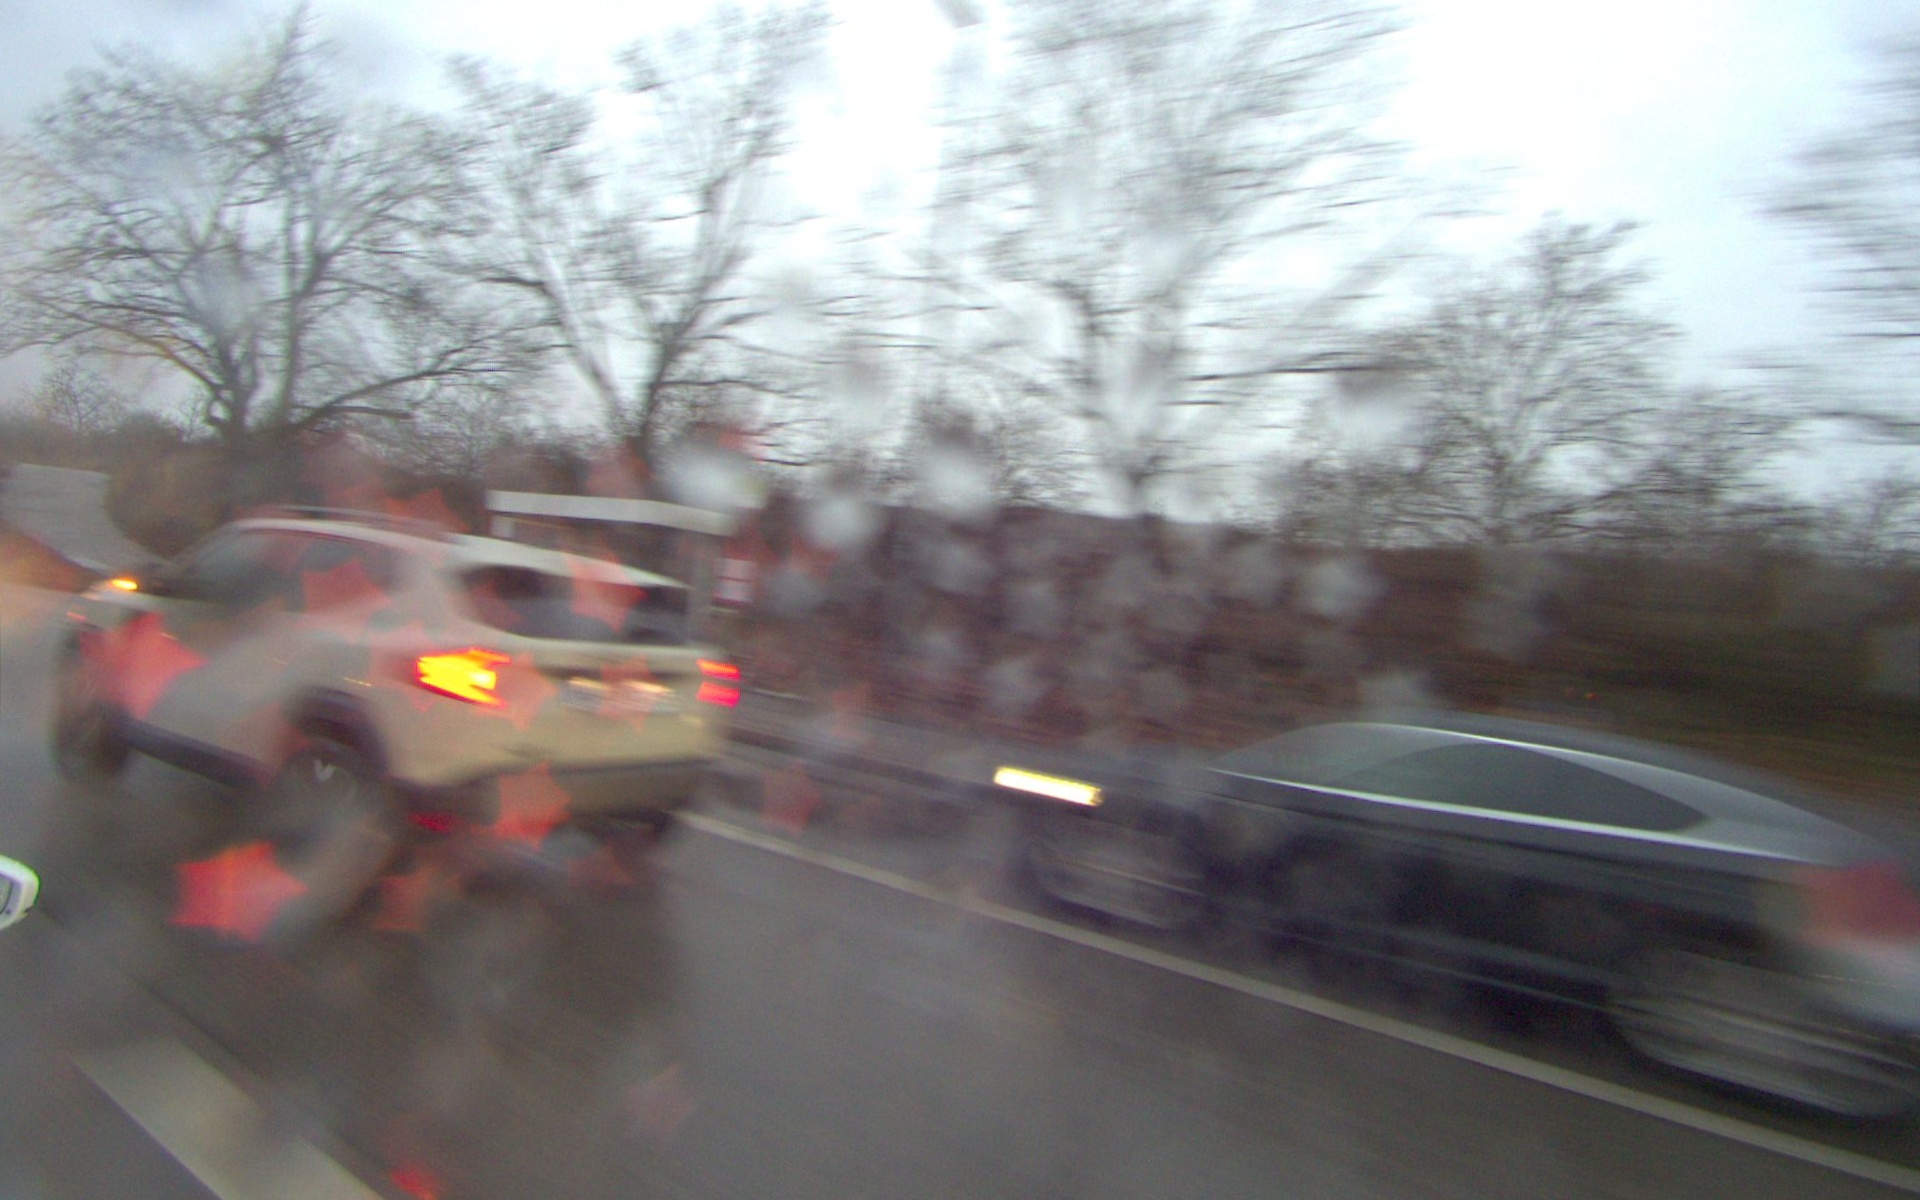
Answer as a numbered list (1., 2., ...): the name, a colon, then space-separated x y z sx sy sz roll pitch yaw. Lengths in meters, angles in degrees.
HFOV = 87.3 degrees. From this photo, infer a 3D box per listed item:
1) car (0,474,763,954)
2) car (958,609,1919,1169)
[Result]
1. car: -3.434 0.345 5.543 4.335 1.638 1.819 6 0 29
2. car: 2.477 1.129 5.378 4.470 1.640 1.969 6 1 29
